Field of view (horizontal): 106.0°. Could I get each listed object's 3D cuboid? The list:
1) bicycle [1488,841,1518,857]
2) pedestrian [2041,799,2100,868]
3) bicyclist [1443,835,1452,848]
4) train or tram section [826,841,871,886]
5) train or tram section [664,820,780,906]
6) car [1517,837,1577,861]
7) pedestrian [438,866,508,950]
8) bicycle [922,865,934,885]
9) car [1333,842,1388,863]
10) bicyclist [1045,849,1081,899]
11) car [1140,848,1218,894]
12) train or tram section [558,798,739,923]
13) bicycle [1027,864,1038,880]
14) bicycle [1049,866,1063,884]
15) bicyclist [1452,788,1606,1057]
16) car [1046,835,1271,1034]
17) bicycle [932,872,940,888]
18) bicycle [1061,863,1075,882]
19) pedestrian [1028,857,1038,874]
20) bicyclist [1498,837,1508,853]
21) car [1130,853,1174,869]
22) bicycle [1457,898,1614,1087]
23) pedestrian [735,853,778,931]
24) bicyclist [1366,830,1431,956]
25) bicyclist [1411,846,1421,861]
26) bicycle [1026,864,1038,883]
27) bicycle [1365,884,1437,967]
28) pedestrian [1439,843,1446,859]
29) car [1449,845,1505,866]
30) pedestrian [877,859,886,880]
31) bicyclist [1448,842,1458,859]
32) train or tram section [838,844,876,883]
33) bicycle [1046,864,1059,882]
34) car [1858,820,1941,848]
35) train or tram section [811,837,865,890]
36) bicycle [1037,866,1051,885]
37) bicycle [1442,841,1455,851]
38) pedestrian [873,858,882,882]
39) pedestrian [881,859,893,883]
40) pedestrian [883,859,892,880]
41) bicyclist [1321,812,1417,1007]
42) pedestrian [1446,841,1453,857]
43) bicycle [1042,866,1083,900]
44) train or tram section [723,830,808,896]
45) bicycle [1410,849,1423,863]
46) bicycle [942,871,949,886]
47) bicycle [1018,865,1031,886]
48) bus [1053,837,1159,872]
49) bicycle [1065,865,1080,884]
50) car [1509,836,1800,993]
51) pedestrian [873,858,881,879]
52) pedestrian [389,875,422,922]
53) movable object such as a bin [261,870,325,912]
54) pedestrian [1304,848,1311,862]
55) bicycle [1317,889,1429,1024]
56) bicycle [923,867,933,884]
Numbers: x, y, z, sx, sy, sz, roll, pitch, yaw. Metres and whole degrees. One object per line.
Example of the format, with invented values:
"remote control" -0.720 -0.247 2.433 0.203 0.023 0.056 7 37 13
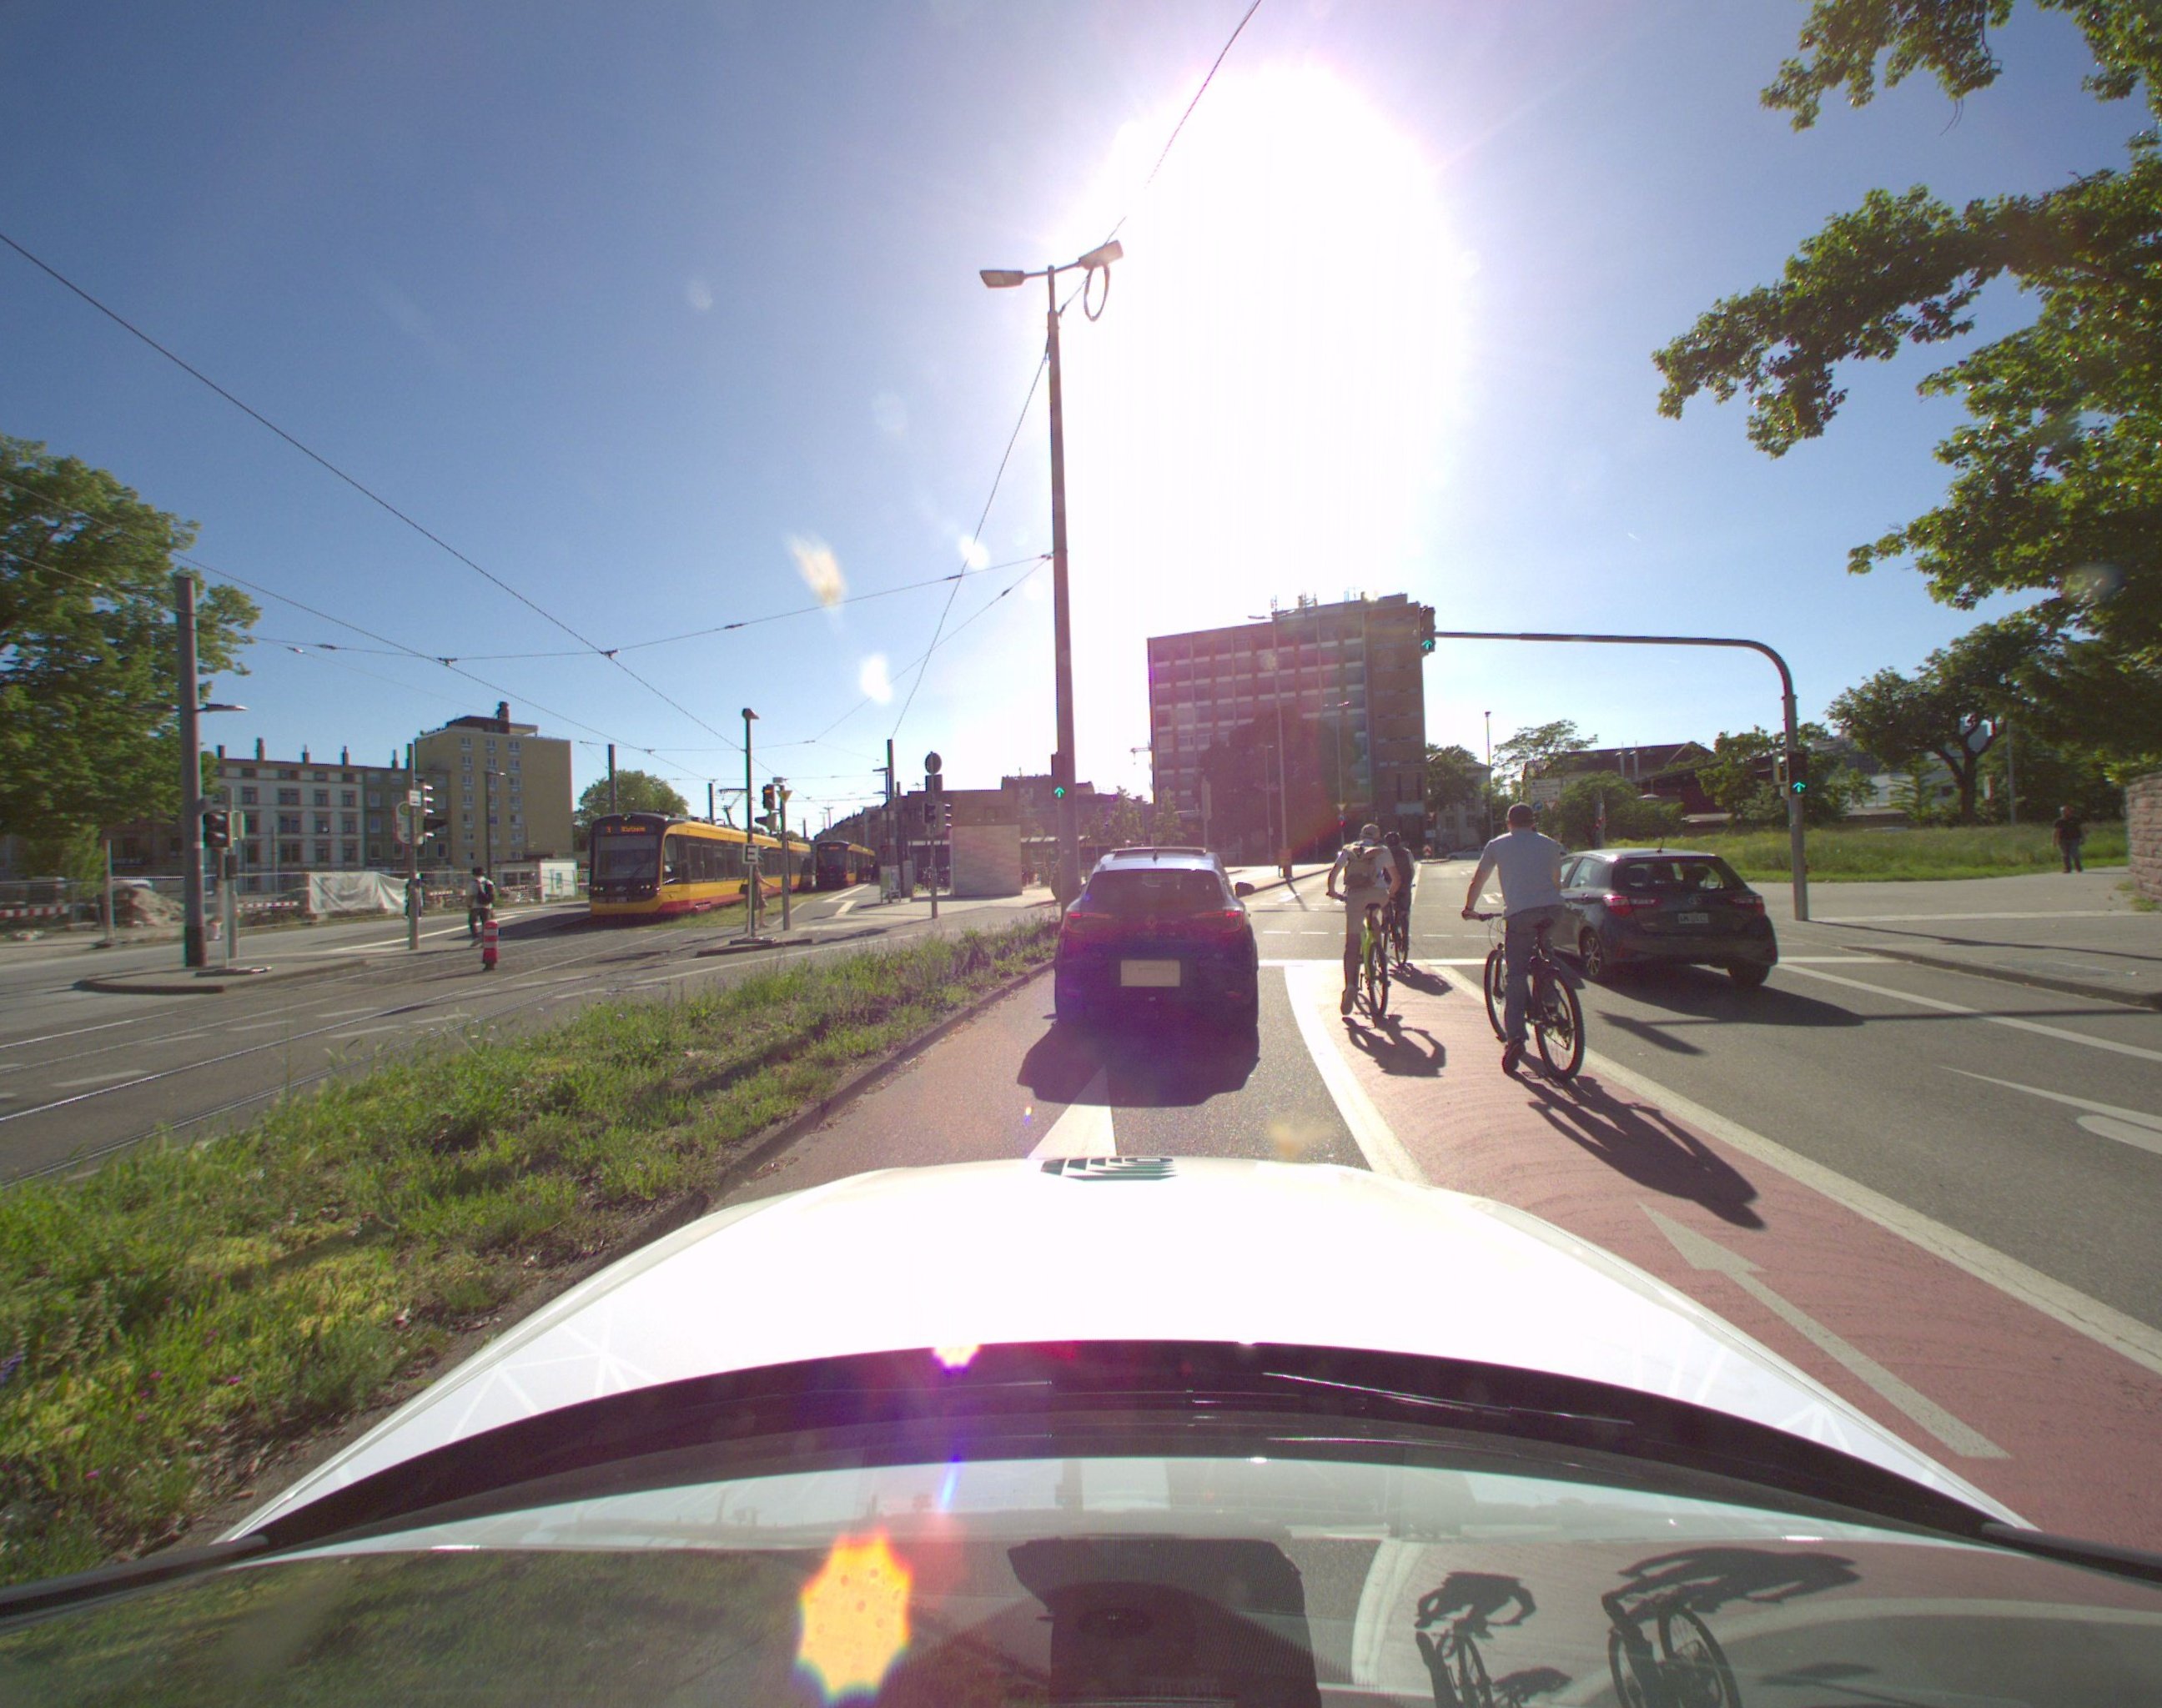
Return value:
"bicycle" 44.437 -0.547 85.802 2.775 1.541 0.889 -2 -2 27
"pedestrian" 27.542 -0.570 22.665 1.052 1.832 0.754 -2 -1 -27
"bicyclist" 41.610 -1.444 92.398 0.823 1.444 0.613 -2 0 -36
"train or tram section" -19.764 0.806 69.817 2.873 3.508 10.498 -1 -1 -12
"train or tram section" -16.793 0.405 38.990 2.818 3.508 10.569 -1 -1 -11
"car" 42.402 -0.414 74.093 4.605 2.014 2.012 -2 -2 33
"pedestrian" -13.650 1.202 18.296 1.008 1.832 0.763 -3 -1 15
"bicycle" -8.681 1.194 46.204 0.565 1.093 2.023 -1 -2 -9
"car" 24.417 -0.148 71.086 4.249 1.568 1.812 -4 -1 -19
"bicyclist" -0.595 0.676 27.705 0.873 1.644 1.065 -3 -1 16
"car" 3.702 0.589 30.195 1.784 1.393 4.116 -2 2 22
"train or tram section" -14.695 0.232 28.811 2.820 3.508 10.433 -2 0 -12
"bicycle" -3.377 1.250 56.346 0.580 1.088 1.865 -1 -2 -9
"bicycle" -1.337 1.118 43.244 0.580 0.961 2.053 -1 -2 -7
"bicyclist" 3.224 0.458 5.966 0.744 1.776 1.018 -2 -1 17
"car" 0.863 0.660 8.476 1.813 1.600 3.666 -1 0 7
"bicycle" -8.551 1.533 47.918 0.422 0.938 1.300 0 -1 -13
"bicycle" -0.724 1.024 45.511 0.580 1.052 1.967 -1 -2 -7
"pedestrian" -4.869 1.177 82.122 0.618 1.741 0.793 -2 -2 39
"bicyclist" 44.475 -0.932 85.793 0.850 1.692 0.889 -2 -2 27
"car" 7.551 0.764 86.823 4.354 1.522 1.982 -2 -2 40
"bicycle" 3.273 0.913 6.026 0.606 1.077 1.838 -2 -1 17
"pedestrian" -8.088 0.920 20.331 0.902 1.850 0.759 -2 2 -20
"bicyclist" 4.306 0.510 11.109 0.716 1.626 1.059 -1 0 16
"bicyclist" 39.421 -0.040 95.770 0.873 1.797 1.168 -2 -2 33
"bicycle" -2.940 1.174 48.857 0.580 1.088 2.053 -1 -2 -7
"bicycle" 4.316 0.923 11.103 0.717 0.960 1.892 -1 0 16
"pedestrian" 39.015 -0.333 87.972 0.555 1.670 0.479 -2 -2 39
"car" 38.829 0.155 79.888 4.605 1.900 2.013 -2 -2 38
"pedestrian" -18.131 1.435 73.997 0.700 1.857 0.632 -1 -2 -10
"bicyclist" 40.673 -0.394 88.982 0.848 1.846 0.856 -2 -2 32
"train or tram section" -21.879 0.946 80.076 2.873 3.508 10.499 -1 0 -12
"bicycle" -1.733 1.154 48.901 0.580 1.088 2.053 -1 -2 -7
"car" 65.085 -1.581 64.853 4.305 2.014 2.013 -2 -2 33
"train or tram section" -17.621 0.703 59.656 2.873 3.508 10.498 -1 -1 -12
"bicycle" -1.950 1.127 43.171 0.580 0.961 2.053 -1 -2 -7
"bicycle" 41.694 -0.900 92.454 1.679 1.093 0.604 -2 0 -37
"pedestrian" -15.866 1.268 63.578 0.604 1.857 0.792 -1 -2 -9
"pedestrian" -14.956 1.303 62.863 0.848 1.883 0.757 -1 -2 -14
"pedestrian" -17.002 1.356 71.610 0.632 1.857 0.700 -1 -2 -9
"bicyclist" 2.752 0.507 7.876 0.660 1.747 1.008 -2 -1 9
"pedestrian" 38.889 -0.529 85.894 0.550 1.670 0.479 -2 -2 39
"bicycle" -0.623 0.964 27.737 0.767 1.080 2.044 -3 -1 16
"train or tram section" -18.898 0.563 49.570 2.818 3.508 11.166 -1 -1 -11
"bicycle" 39.423 0.244 95.770 0.873 1.541 2.828 -2 -2 33
"bicycle" -8.831 1.589 52.950 0.421 0.938 1.374 0 -1 -9
"bicycle" -2.979 1.136 42.819 0.580 1.058 1.812 -1 -2 -7
"bus" 2.464 0.138 86.894 12.287 3.396 2.900 -2 -2 42
"bicycle" -0.445 1.107 43.465 0.580 0.961 2.053 -1 -2 -7
"car" 6.851 0.615 10.234 1.744 1.541 3.672 2 0 14
"pedestrian" -17.869 1.248 71.197 0.634 1.857 0.699 0 -2 -17
"pedestrian" -26.322 1.709 31.735 0.668 1.767 0.796 -2 -1 -13
"movable object such as a bin" -53.484 2.498 55.273 3.950 2.796 1.844 -2 -2 26
"pedestrian" 27.202 0.123 97.845 0.555 1.670 0.479 -2 -2 39
"bicycle" 2.777 0.923 7.931 0.659 1.047 1.895 -2 0 9
"bicycle" -9.873 1.375 52.543 0.565 1.093 2.023 -1 -2 -9
